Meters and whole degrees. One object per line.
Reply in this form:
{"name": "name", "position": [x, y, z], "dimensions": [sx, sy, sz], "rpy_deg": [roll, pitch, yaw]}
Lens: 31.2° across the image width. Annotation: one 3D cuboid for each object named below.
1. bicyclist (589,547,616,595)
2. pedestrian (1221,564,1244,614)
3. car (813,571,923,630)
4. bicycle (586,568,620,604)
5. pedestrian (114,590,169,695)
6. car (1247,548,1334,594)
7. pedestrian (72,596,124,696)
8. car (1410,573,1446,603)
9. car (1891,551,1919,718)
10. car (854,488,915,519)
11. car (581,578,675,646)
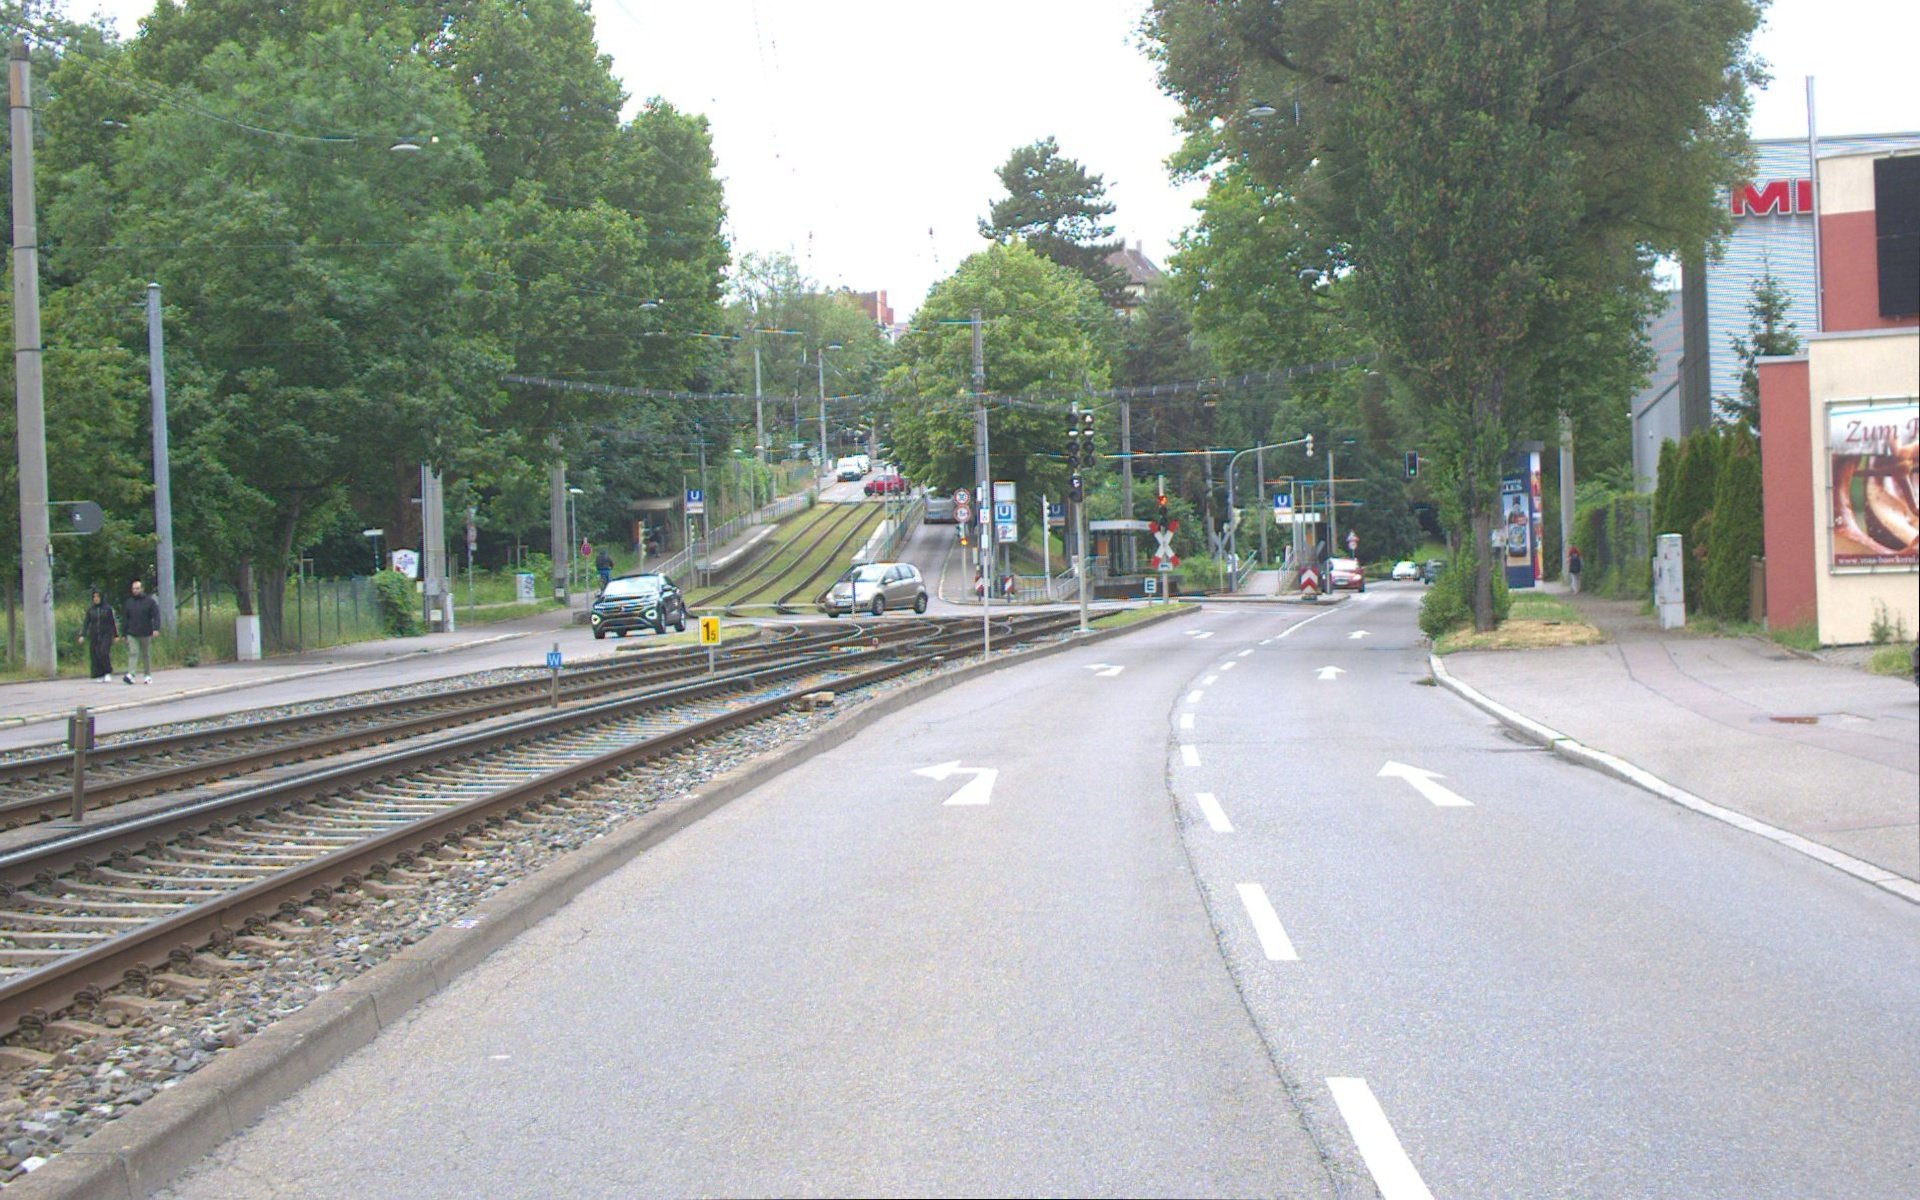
{"name": "bicyclist", "position": [-13.973, -1.142, 134.442], "dimensions": [0.821, 1.843, 1.052], "rpy_deg": [-2, 0, -16]}
{"name": "pedestrian", "position": [10.377, -0.417, 130.903], "dimensions": [0.769, 1.846, 0.910], "rpy_deg": [-2, 0, 5]}
{"name": "car", "position": [-2.799, 0.009, 105.579], "dimensions": [1.892, 1.527, 4.252], "rpy_deg": [-5, 0, 19]}
{"name": "bicycle", "position": [-13.979, -0.538, 134.581], "dimensions": [0.823, 1.339, 2.997], "rpy_deg": [-2, 0, -15]}
{"name": "pedestrian", "position": [-14.163, 0.729, 59.494], "dimensions": [0.676, 1.807, 0.855], "rpy_deg": [0, 1, 5]}
{"name": "car", "position": [11.469, -1.007, 119.094], "dimensions": [1.995, 1.510, 4.496], "rpy_deg": [-1, 0, 19]}
{"name": "pedestrian", "position": [-14.927, 0.783, 59.553], "dimensions": [0.628, 1.707, 0.855], "rpy_deg": [0, 1, 5]}
{"name": "car", "position": [29.551, -0.760, 217.263], "dimensions": [1.994, 1.809, 3.999], "rpy_deg": [-2, 0, 5]}
{"name": "car", "position": [10.357, 0.277, 29.544], "dimensions": [4.227, 1.438, 1.760], "rpy_deg": [0, 1, 30]}
{"name": "car", "position": [-5.459, -6.990, 248.610], "dimensions": [3.989, 2.007, 1.999], "rpy_deg": [-2, 0, 13]}
{"name": "car", "position": [-8.333, 0.281, 86.623], "dimensions": [1.687, 1.527, 4.256], "rpy_deg": [-5, 0, 2]}
